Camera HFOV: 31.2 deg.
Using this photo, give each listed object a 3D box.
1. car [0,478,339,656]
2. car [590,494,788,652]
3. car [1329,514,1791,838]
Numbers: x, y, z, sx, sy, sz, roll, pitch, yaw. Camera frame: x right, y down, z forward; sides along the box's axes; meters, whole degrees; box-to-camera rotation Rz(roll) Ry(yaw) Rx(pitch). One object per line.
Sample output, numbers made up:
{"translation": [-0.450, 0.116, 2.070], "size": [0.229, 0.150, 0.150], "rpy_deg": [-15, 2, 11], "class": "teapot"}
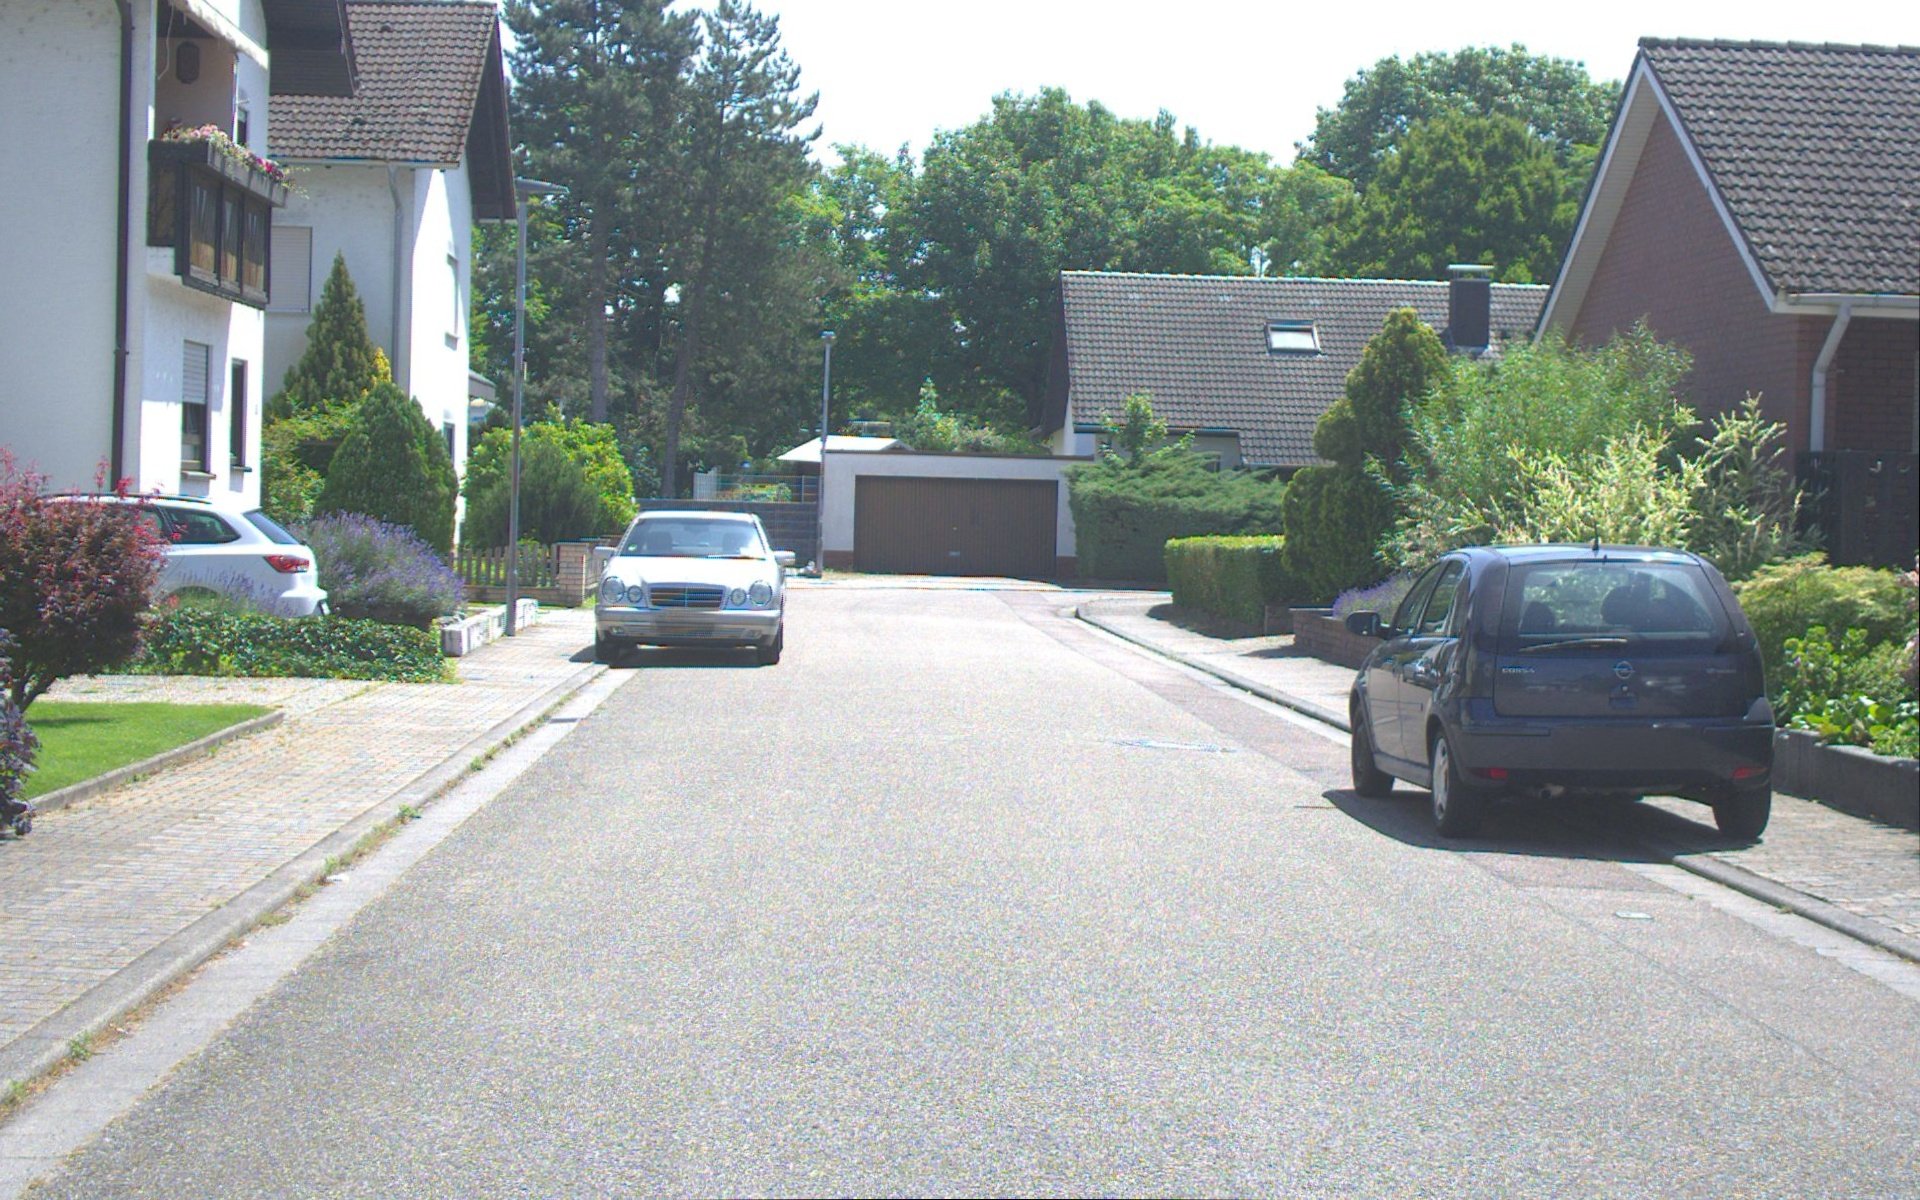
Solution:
{"translation": [-7.488, -0.318, 29.910], "size": [3.986, 1.415, 1.846], "rpy_deg": [1, 2, -7], "class": "car"}
{"translation": [-2.627, -0.315, 34.076], "size": [1.699, 1.388, 4.338], "rpy_deg": [1, 2, -2], "class": "car"}
{"translation": [3.023, 0.315, 18.022], "size": [1.650, 1.435, 3.652], "rpy_deg": [1, 2, -2], "class": "car"}
